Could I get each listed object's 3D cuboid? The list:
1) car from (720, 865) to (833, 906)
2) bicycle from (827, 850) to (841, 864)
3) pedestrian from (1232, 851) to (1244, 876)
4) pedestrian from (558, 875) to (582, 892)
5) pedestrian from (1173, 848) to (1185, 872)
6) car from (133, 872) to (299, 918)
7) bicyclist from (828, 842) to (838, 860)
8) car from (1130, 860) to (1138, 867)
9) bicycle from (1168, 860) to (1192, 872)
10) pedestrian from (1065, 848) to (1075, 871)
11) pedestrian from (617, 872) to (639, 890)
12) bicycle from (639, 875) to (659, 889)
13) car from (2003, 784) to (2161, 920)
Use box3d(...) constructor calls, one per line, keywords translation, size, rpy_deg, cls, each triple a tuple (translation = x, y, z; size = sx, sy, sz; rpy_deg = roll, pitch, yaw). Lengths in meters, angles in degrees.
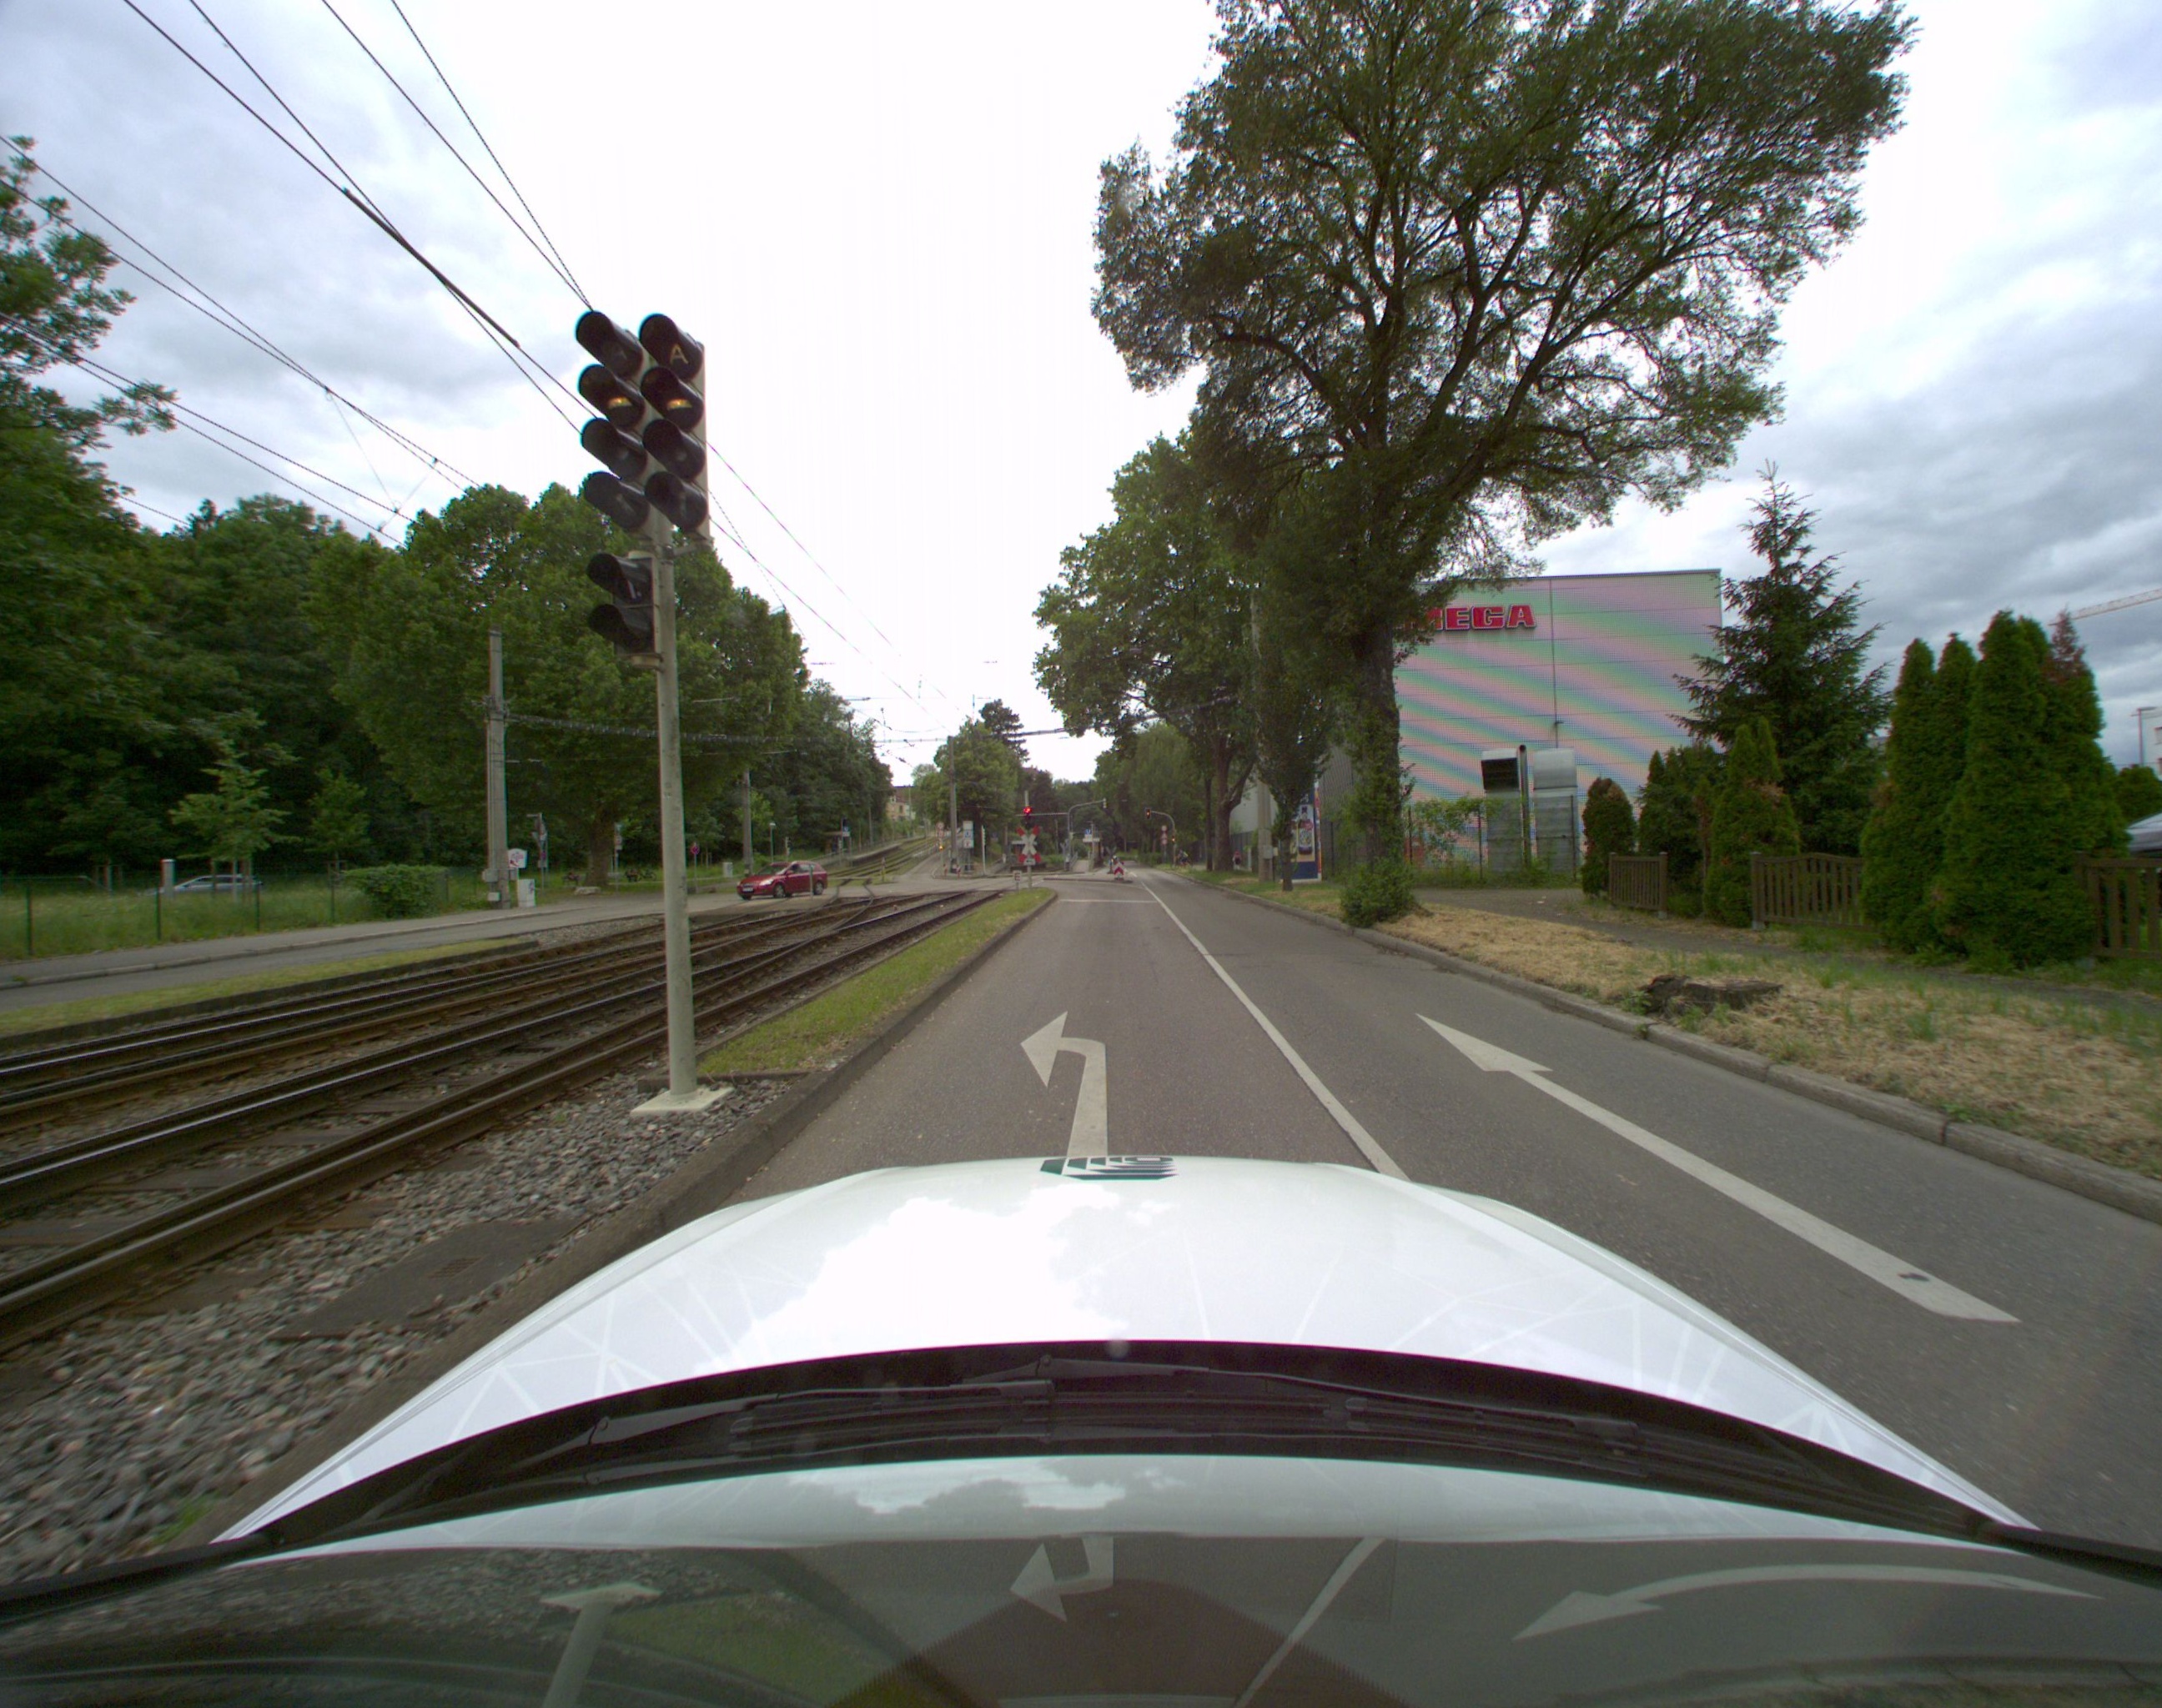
box3d(translation=(-12.719, 1.266, 34.357), size=(1.977, 1.515, 4.523), rpy_deg=(-1, 0, 20), cls="car")
box3d(translation=(-26.526, 0.346, 87.542), size=(0.823, 1.343, 2.991), rpy_deg=(-2, 3, -6), cls="bicycle")
box3d(translation=(9.817, 0.590, 50.980), size=(0.662, 1.553, 0.936), rpy_deg=(-2, 0, 8), cls="pedestrian")
box3d(translation=(-34.171, 1.955, 54.415), size=(0.894, 1.095, 1.088), rpy_deg=(0, -1, 37), cls="pedestrian")
box3d(translation=(8.521, 0.544, 70.916), size=(0.926, 2.013, 0.669), rpy_deg=(-2, 0, 7), cls="pedestrian")
box3d(translation=(-42.150, 1.942, 39.843), size=(2.325, 1.888, 5.116), rpy_deg=(-2, 0, 30), cls="car")
box3d(translation=(-26.514, -0.321, 87.151), size=(0.820, 1.848, 1.050), rpy_deg=(-2, 2, -6), cls="bicyclist")
box3d(translation=(14.596, 2.499, 223.567), size=(1.986, 1.815, 4.001), rpy_deg=(-2, 0, 1), cls="car")
box3d(translation=(8.625, 1.042, 70.924), size=(2.063, 1.007, 0.669), rpy_deg=(-2, 0, 8), cls="bicycle")
box3d(translation=(-0.942, 0.451, 67.371), size=(0.766, 1.852, 0.909), rpy_deg=(-2, 0, -1), cls="pedestrian")
box3d(translation=(-32.339, 1.907, 58.142), size=(1.102, 1.268, 1.063), rpy_deg=(0, -1, 40), cls="pedestrian")
box3d(translation=(-31.427, 2.034, 59.259), size=(1.632, 1.012, 0.680), rpy_deg=(0, -1, 40), cls="bicycle")
box3d(translation=(15.517, -0.078, 10.514), size=(4.323, 1.706, 2.011), rpy_deg=(-1, 0, 23), cls="car")
